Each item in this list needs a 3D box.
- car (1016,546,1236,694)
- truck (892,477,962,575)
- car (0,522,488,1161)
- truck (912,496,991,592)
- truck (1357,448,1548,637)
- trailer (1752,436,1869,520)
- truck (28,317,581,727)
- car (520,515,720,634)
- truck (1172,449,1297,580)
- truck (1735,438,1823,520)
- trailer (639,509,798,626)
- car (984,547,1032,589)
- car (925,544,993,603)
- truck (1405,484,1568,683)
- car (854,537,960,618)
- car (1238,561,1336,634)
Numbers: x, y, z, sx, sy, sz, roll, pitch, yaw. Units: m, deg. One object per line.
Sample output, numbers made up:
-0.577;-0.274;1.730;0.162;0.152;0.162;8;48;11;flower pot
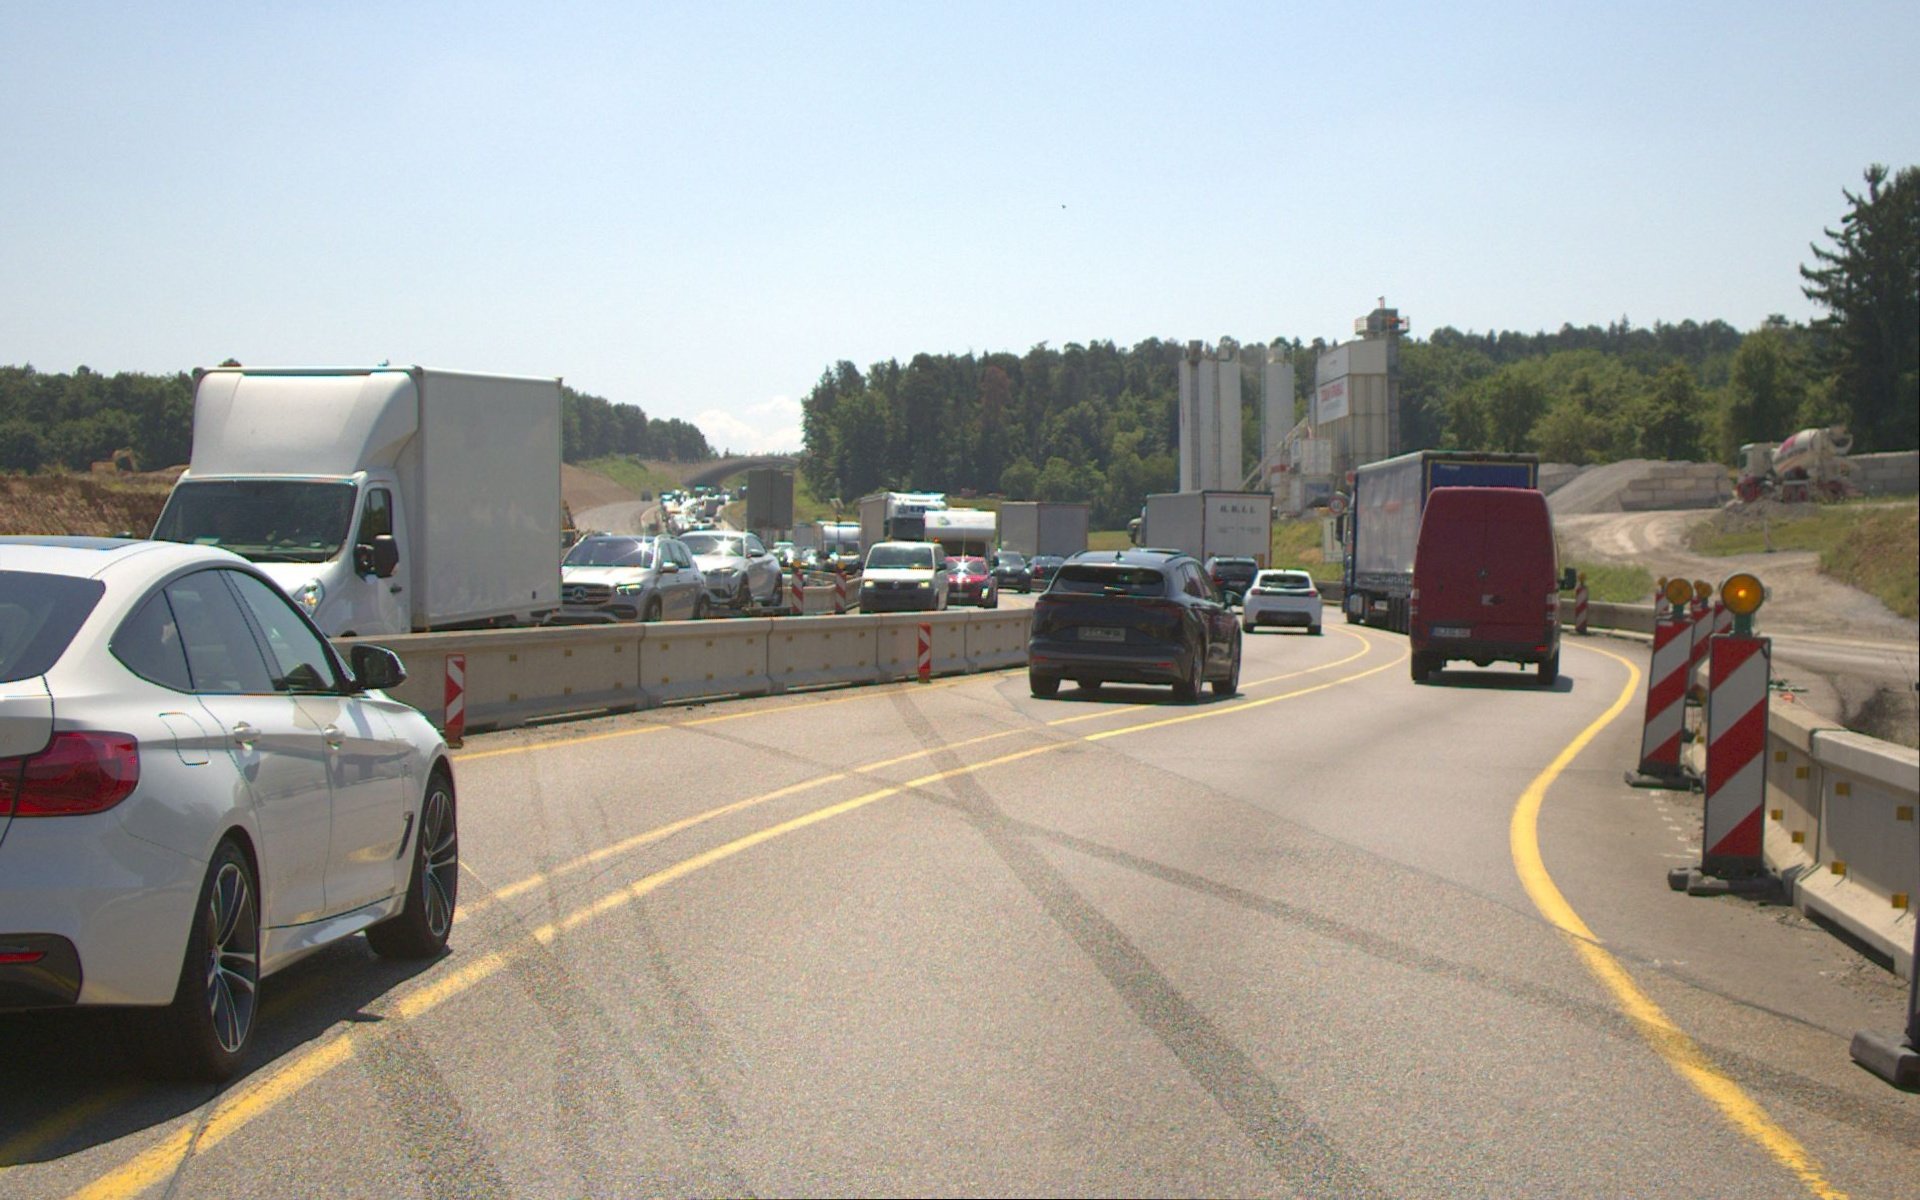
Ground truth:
1.892;0.179;38.065;1.796;1.529;3.929;0;1;13;car
-1.357;-3.088;144.459;2.702;4.048;5.501;0;1;2;truck
-2.824;0.526;10.838;1.795;1.529;5.073;1;1;2;car
-0.314;-1.856;113.687;2.441;3.061;7.249;0;1;-2;truck
11.267;-1.330;79.480;3.015;4.138;8.273;0;1;-1;truck
42.490;-6.057;171.938;2.755;4.100;6.748;0;1;-15;trailer
-5.837;-0.705;31.921;2.580;3.369;6.924;0;1;12;truck
-5.444;-0.432;55.676;1.866;1.800;4.904;-1;1;11;car
10.130;-3.152;128.031;3.683;4.675;9.753;0;1;-1;truck
41.679;-6.116;175.064;2.744;4.081;4.102;0;1;-15;truck
-4.303;-0.608;61.970;1.866;2.015;4.434;0;1;10;trailer
1.911;-1.274;135.458;1.660;1.600;4.396;0;1;4;car
-0.004;-0.769;97.408;1.720;1.622;4.336;0;1;3;car
7.522;-0.279;48.740;2.112;2.624;6.482;0;1;10;truck
-1.280;-0.583;85.102;1.866;1.947;4.891;0;1;8;car
7.304;-0.078;77.097;1.802;1.574;4.000;0;1;0;car
